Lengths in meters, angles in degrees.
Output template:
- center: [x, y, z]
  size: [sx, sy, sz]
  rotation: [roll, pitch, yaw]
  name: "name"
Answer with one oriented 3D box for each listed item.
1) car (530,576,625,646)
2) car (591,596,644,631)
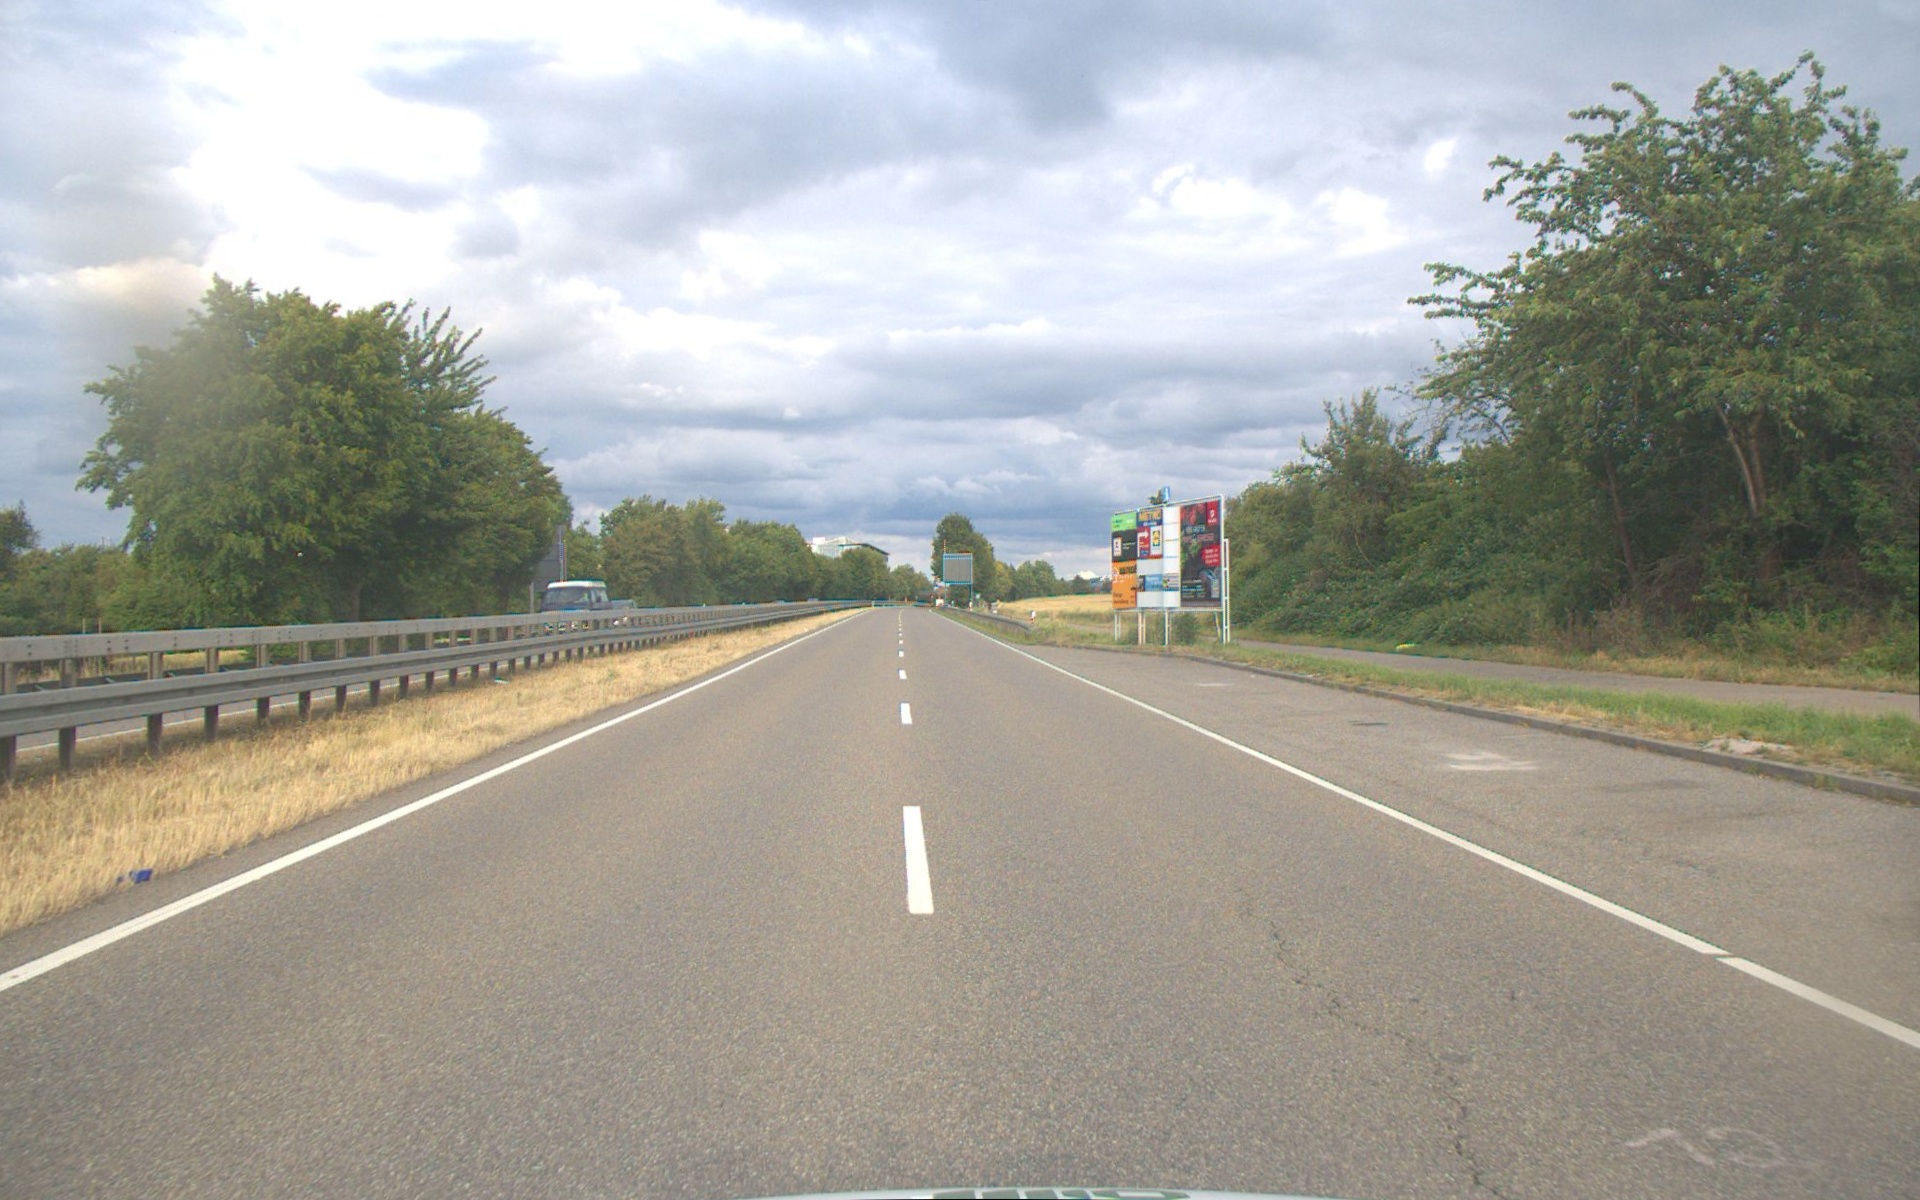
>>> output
- center: [-12.812, 0.348, 55.708]
  size: [1.953, 2.178, 5.318]
  rotation: [-2, 0, -1]
  name: "car"
- center: [-17.365, 0.674, 83.935]
  size: [1.761, 1.654, 4.482]
  rotation: [-2, 0, -1]
  name: "car"
